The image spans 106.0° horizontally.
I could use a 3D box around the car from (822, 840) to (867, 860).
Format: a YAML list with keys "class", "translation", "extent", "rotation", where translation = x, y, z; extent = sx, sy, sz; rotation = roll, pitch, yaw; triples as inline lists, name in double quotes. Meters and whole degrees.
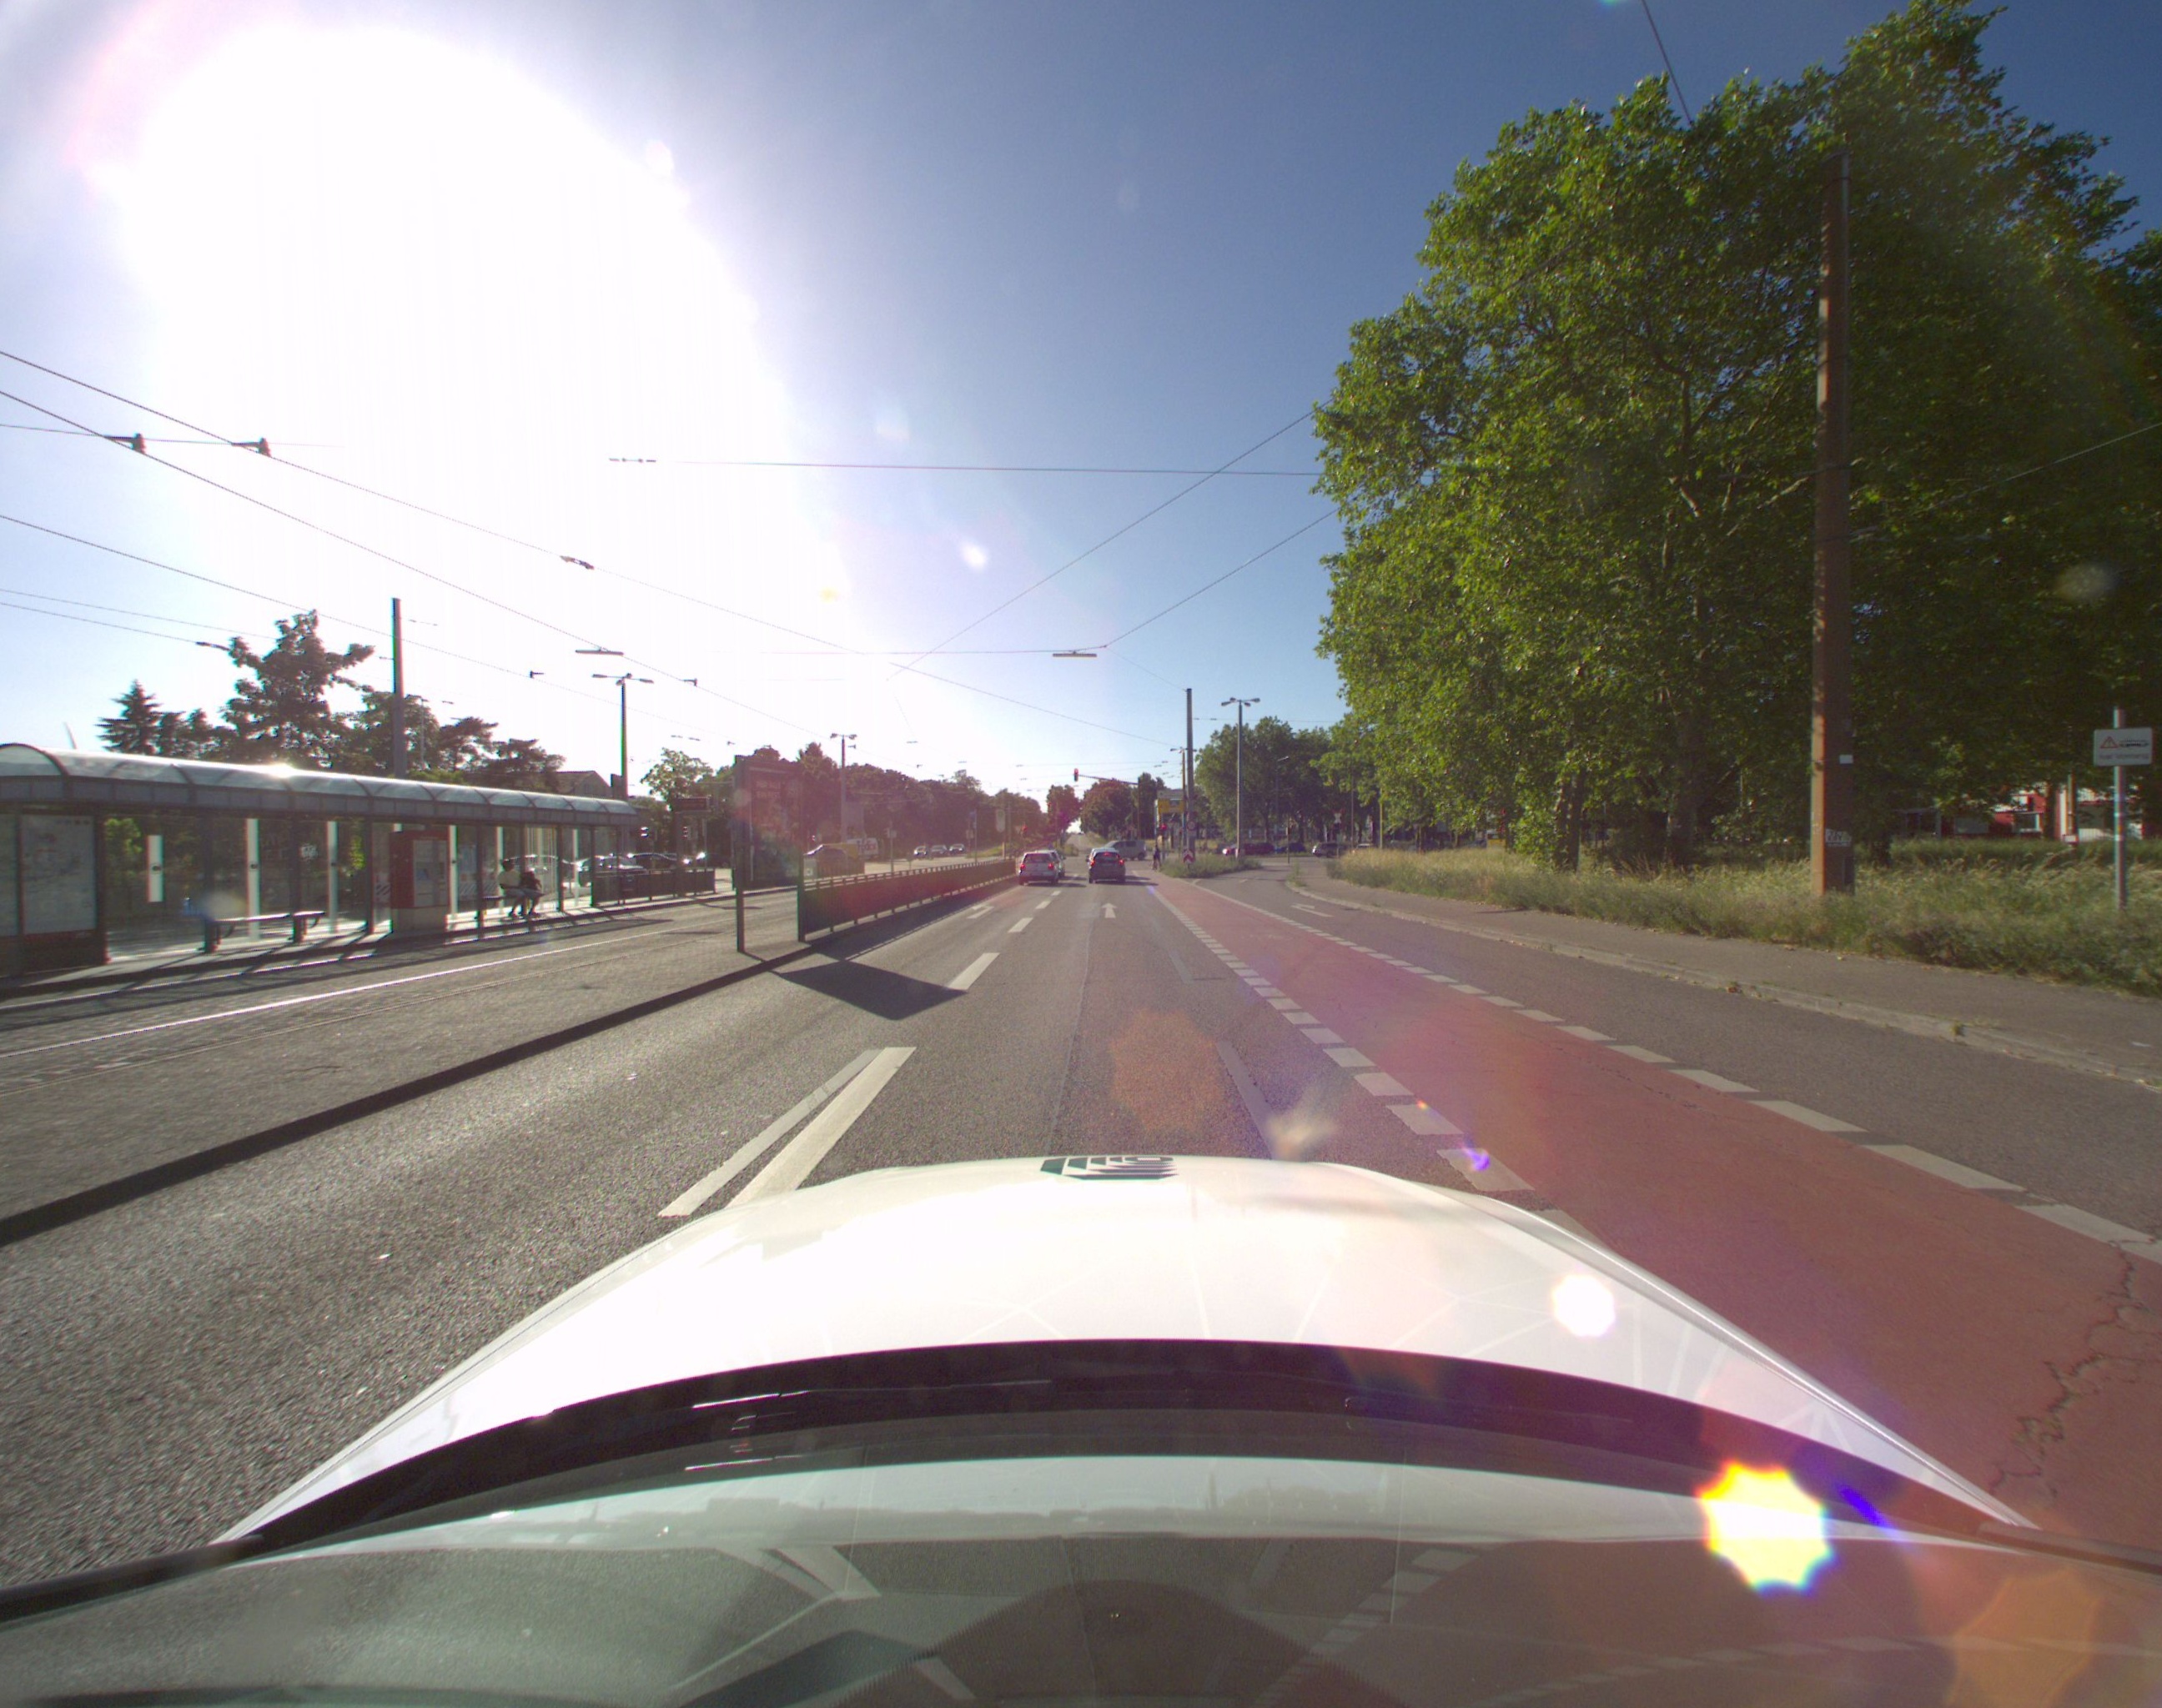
- class: "car"
  translation: [-21.485, -0.376, 73.993]
  extent: [3.806, 1.709, 1.740]
  rotation: [1, 0, -20]

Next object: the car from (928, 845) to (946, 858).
- class: "car"
  translation: [-17.684, -0.358, 100.120]
  extent: [1.829, 1.548, 4.278]
  rotation: [-1, 1, -5]

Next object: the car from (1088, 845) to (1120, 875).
- class: "car"
  translation: [1.264, 0.275, 44.615]
  extent: [1.605, 1.562, 4.290]
  rotation: [-1, 1, 2]

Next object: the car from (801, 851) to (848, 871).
- class: "car"
  translation: [-21.861, 0.600, 69.372]
  extent: [3.626, 1.709, 1.738]
  rotation: [1, 0, -25]

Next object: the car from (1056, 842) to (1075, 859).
- class: "car"
  translation: [-1.800, -0.426, 96.024]
  extent: [1.986, 2.013, 4.494]
  rotation: [1, 0, 2]

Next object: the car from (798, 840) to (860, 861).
- class: "car"
  translation: [-22.711, -0.302, 73.407]
  extent: [5.181, 1.879, 1.983]
  rotation: [0, 0, -26]

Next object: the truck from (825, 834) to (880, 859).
- class: "truck"
  translation: [-24.921, -0.857, 89.116]
  extent: [1.976, 2.565, 6.859]
  rotation: [-1, 1, 21]

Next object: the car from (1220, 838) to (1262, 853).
- class: "car"
  translation: [16.147, -0.870, 82.149]
  extent: [4.019, 1.402, 1.598]
  rotation: [-1, 1, -22]

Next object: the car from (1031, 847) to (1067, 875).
- class: "car"
  translation: [-1.673, 0.347, 43.410]
  extent: [1.613, 1.457, 4.086]
  rotation: [0, 0, 2]

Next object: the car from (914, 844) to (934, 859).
- class: "car"
  translation: [-17.585, -0.276, 91.324]
  extent: [1.829, 1.548, 3.994]
  rotation: [-1, 1, -5]

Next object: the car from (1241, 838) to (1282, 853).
- class: "car"
  translation: [19.137, -0.914, 86.419]
  extent: [4.002, 1.531, 1.594]
  rotation: [-2, 1, -21]

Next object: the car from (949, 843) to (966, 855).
- class: "car"
  translation: [-17.160, -0.717, 113.462]
  extent: [1.991, 1.604, 4.746]
  rotation: [0, 1, -6]

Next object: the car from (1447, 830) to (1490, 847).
- class: "car"
  translation: [47.367, -1.906, 99.605]
  extent: [4.905, 2.013, 1.986]
  rotation: [-1, 1, -21]

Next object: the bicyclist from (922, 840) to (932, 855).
- class: "bicyclist"
  translation: [-16.318, -0.680, 86.375]
  extent: [1.009, 1.647, 0.813]
  rotation: [-1, 0, -16]

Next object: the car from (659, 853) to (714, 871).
- class: "car"
  translation: [-32.880, 0.663, 67.998]
  extent: [4.004, 1.473, 1.738]
  rotation: [1, 0, -23]

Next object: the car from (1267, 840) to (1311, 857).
- class: "car"
  translation: [24.007, -0.582, 93.984]
  extent: [4.705, 1.879, 1.986]
  rotation: [1, 0, -21]

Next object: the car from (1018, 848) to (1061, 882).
- class: "car"
  translation: [-1.820, 0.468, 36.372]
  extent: [1.613, 1.417, 3.352]
  rotation: [-1, 0, 2]

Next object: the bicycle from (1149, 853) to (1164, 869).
- class: "bicycle"
  translation: [4.796, 0.420, 51.764]
  extent: [0.719, 0.989, 2.877]
  rotation: [1, 0, 2]

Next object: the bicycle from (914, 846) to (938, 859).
- class: "bicycle"
  translation: [-16.405, -0.155, 86.332]
  extent: [2.401, 1.262, 0.813]
  rotation: [-1, 1, -17]

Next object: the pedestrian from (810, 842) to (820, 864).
- class: "pedestrian"
  translation: [-25.196, -0.084, 77.220]
  extent: [0.748, 2.013, 0.789]
  rotation: [-1, 1, -10]

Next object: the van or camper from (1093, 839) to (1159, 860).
- class: "van or camper"
  translation: [4.231, -0.445, 76.993]
  extent: [5.995, 1.828, 1.984]
  rotation: [-1, 1, -24]

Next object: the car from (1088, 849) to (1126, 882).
- class: "car"
  translation: [1.183, 0.505, 37.975]
  extent: [1.663, 1.461, 3.586]
  rotation: [-1, 1, 0]

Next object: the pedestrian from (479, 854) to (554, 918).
- class: "pedestrian"
  translation: [-13.438, 0.746, 19.418]
  extent: [1.057, 1.453, 1.007]
  rotation: [-1, 0, 1]

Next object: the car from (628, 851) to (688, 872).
- class: "car"
  translation: [-30.468, 0.522, 58.793]
  extent: [3.680, 1.378, 1.516]
  rotation: [-1, 1, -24]

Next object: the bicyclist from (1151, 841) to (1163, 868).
- class: "bicyclist"
  translation: [4.798, 0.014, 51.683]
  extent: [0.663, 1.716, 0.948]
  rotation: [1, 0, 1]
